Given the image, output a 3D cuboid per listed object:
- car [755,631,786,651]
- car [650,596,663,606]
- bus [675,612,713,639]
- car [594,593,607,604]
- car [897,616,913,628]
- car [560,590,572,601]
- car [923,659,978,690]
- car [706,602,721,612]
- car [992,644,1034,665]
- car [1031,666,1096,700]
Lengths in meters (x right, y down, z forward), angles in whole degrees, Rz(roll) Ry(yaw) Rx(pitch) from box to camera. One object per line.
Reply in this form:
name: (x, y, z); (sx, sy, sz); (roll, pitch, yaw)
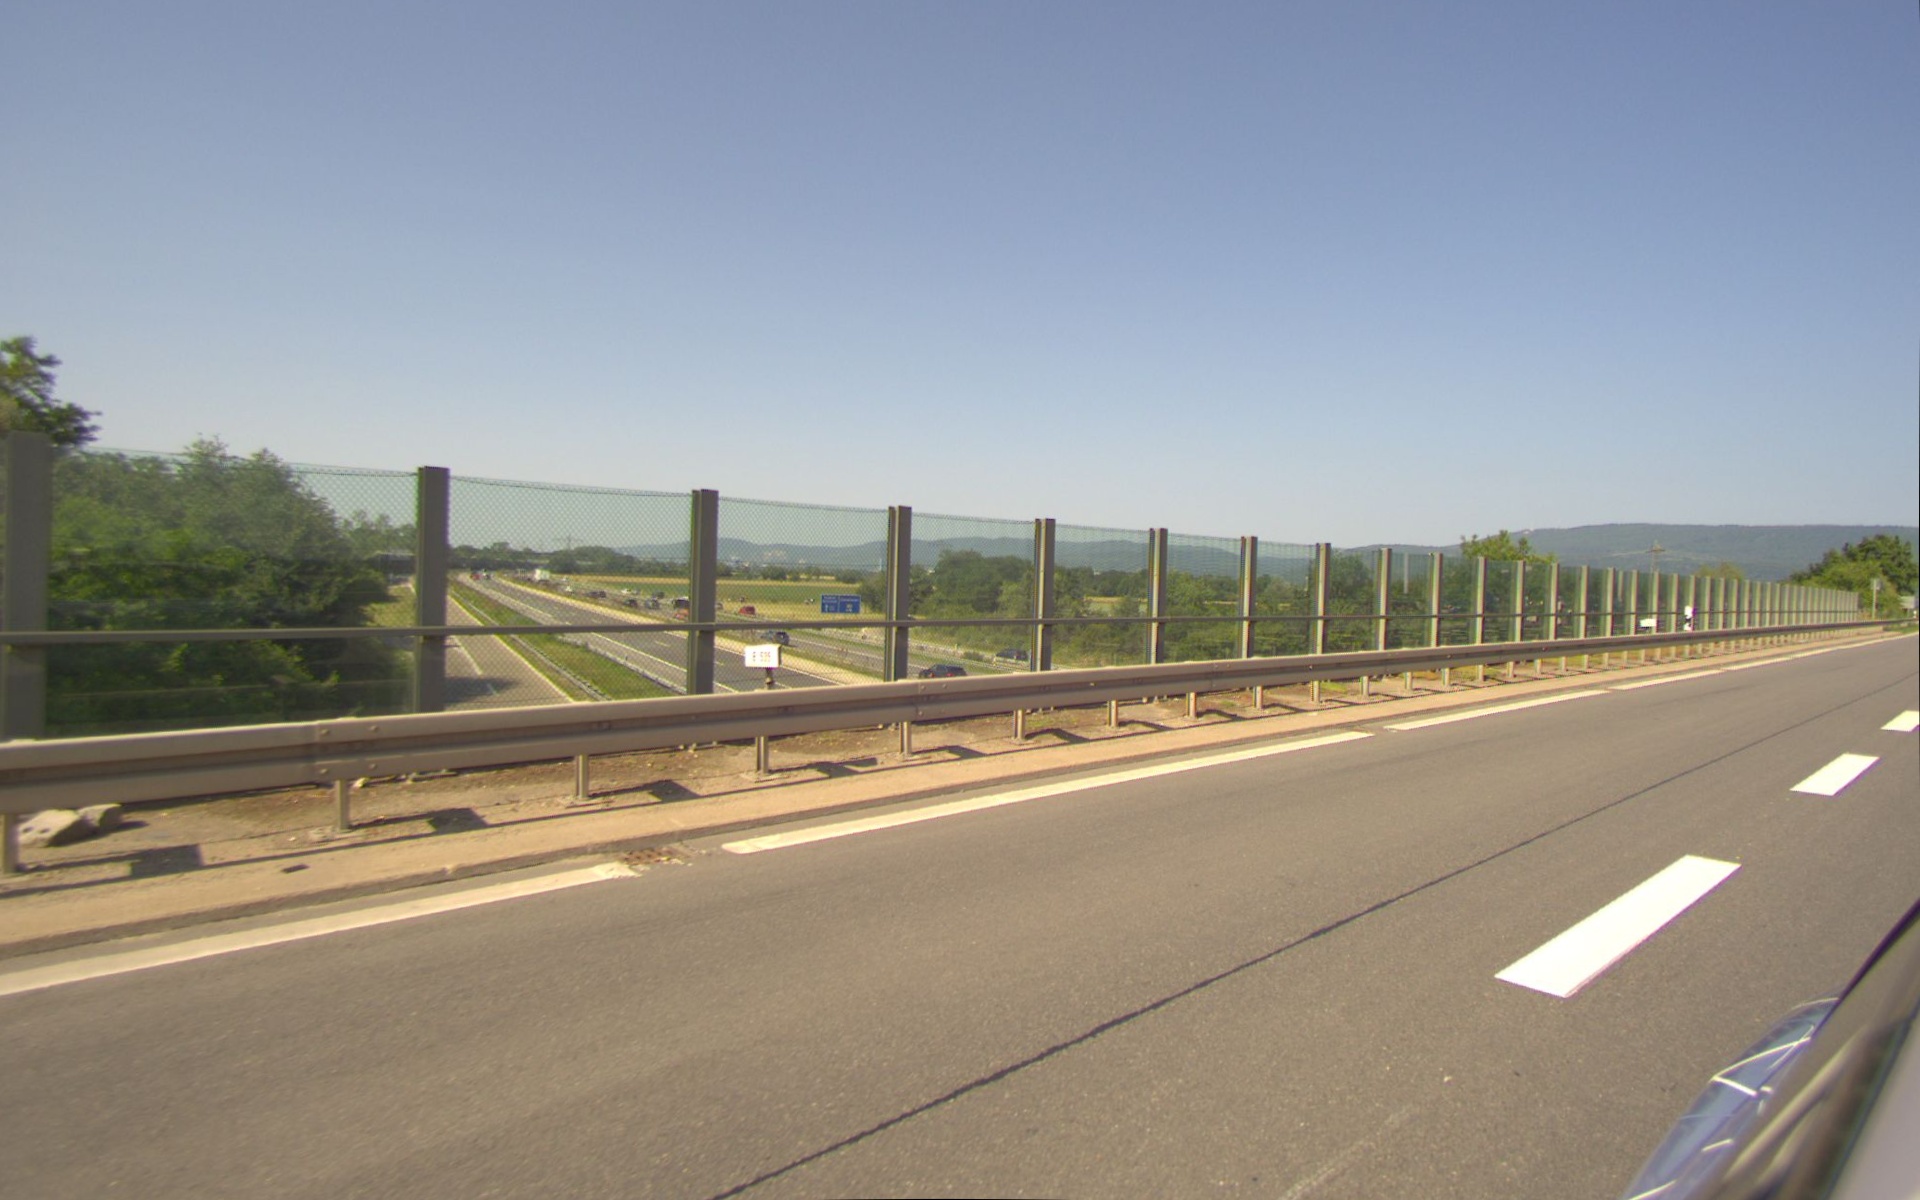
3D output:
car: (-18.810, 4.050, 100.359); (1.842, 1.787, 4.004); (1, 0, -30)
car: (-67.083, 0.187, 223.631); (1.960, 2.039, 4.004); (1, 0, -30)
bus: (-34.282, 3.251, 130.217); (2.499, 3.203, 8.397); (1, 0, -31)
car: (-73.979, -0.327, 208.204); (1.842, 2.388, 4.722); (1, 0, -30)
car: (-8.893, 3.559, 164.604); (1.821, 1.705, 3.990); (0, 0, 8)
car: (-84.499, -0.886, 217.189); (1.841, 2.326, 4.005); (1, 0, -29)
car: (-0.691, 5.093, 69.679); (1.960, 1.727, 4.266); (1, 0, -31)
car: (-44.557, 1.202, 183.044); (1.744, 1.794, 4.005); (1, 0, -28)
car: (5.005, 5.136, 96.420); (1.960, 1.727, 4.266); (1, 0, -31)
car: (6.509, 5.229, 64.308); (1.960, 1.727, 4.266); (1, 0, -31)
